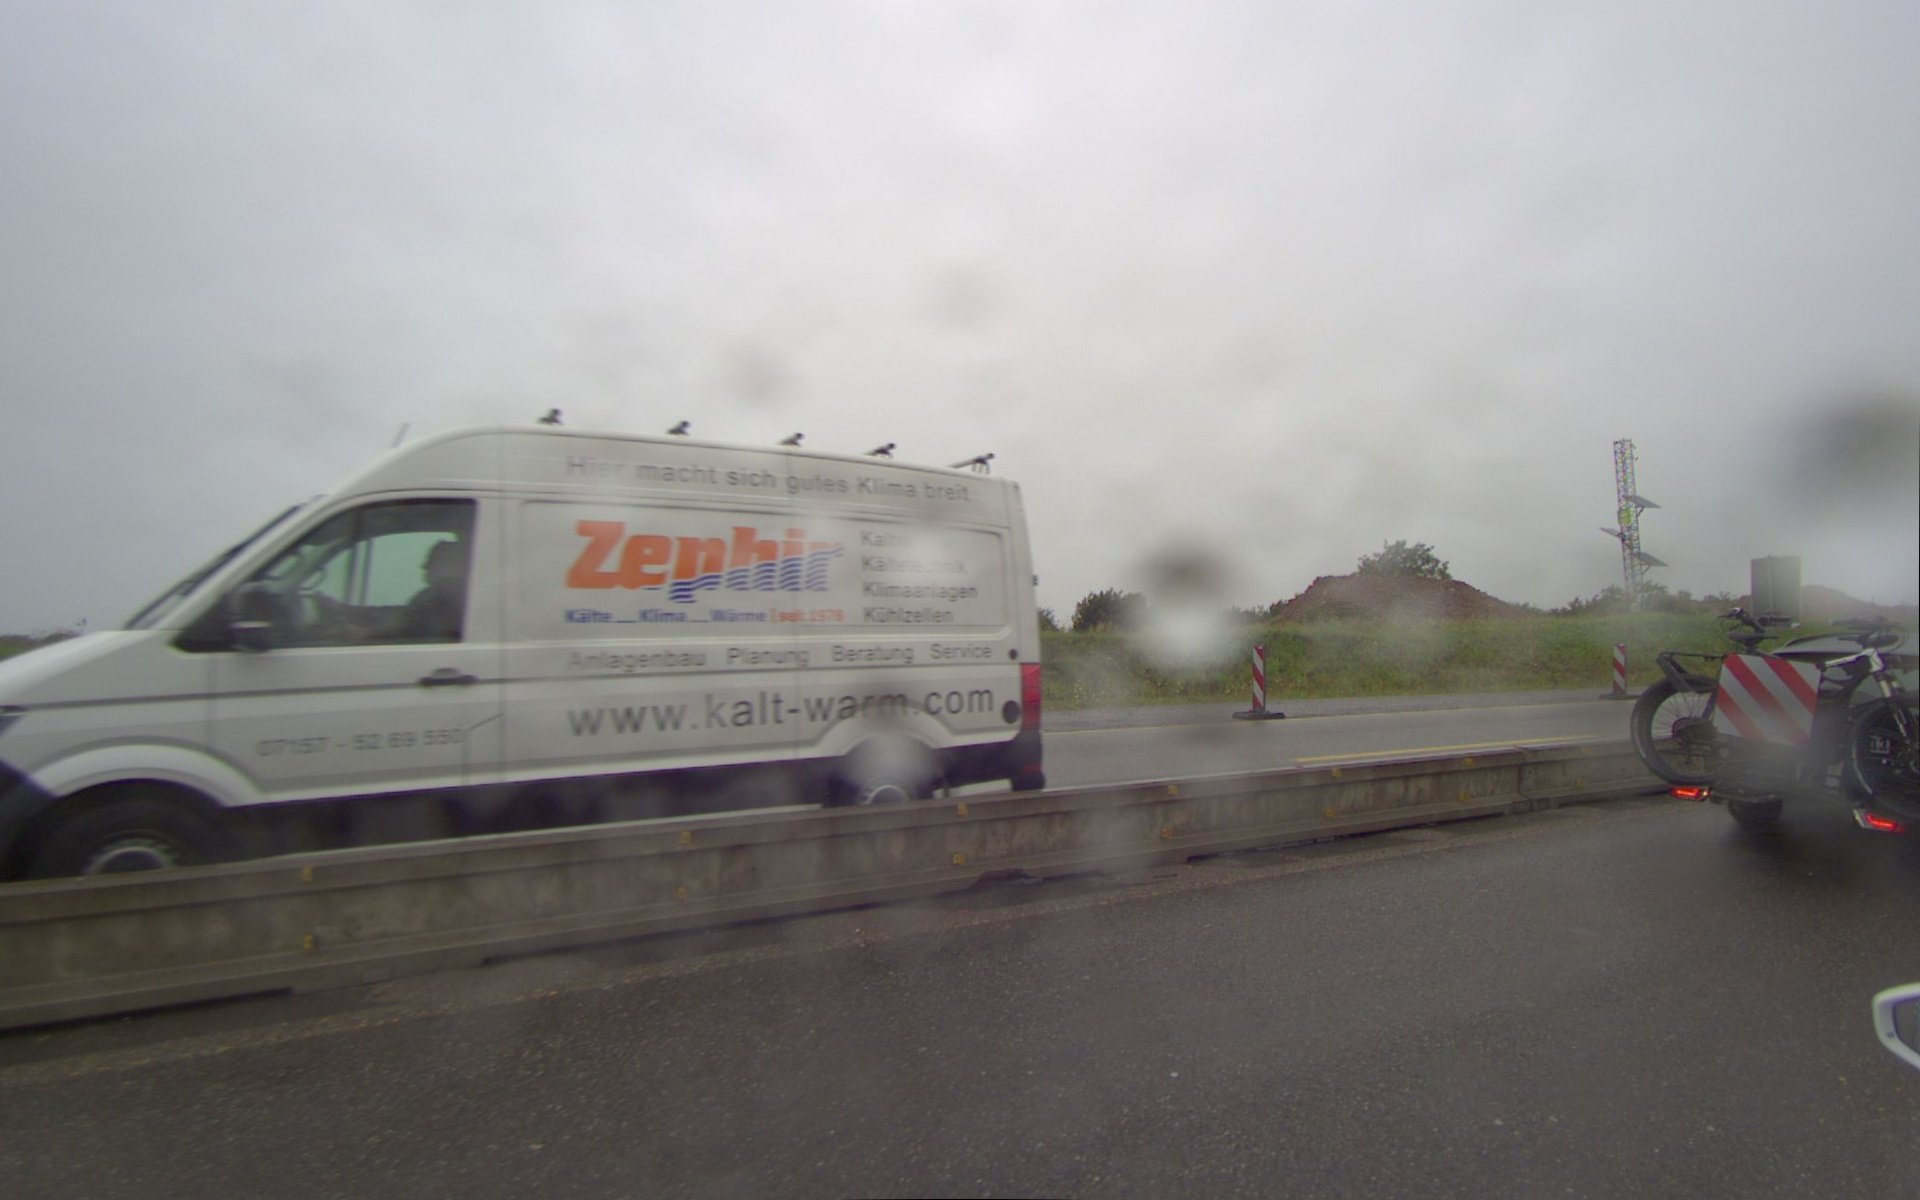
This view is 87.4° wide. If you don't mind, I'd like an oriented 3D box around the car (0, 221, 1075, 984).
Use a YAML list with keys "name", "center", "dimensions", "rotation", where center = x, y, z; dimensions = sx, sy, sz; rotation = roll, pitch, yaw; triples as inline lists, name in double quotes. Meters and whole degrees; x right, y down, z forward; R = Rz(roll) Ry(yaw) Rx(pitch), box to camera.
- name: "car"
  center: [-2.195, 0.053, 6.140]
  dimensions: [5.712, 3.053, 1.984]
  rotation: [1, 0, -30]

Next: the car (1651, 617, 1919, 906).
- name: "car"
  center: [7.350, 0.891, 7.184]
  dimensions: [5.561, 1.482, 1.727]
  rotation: [0, 0, -30]
